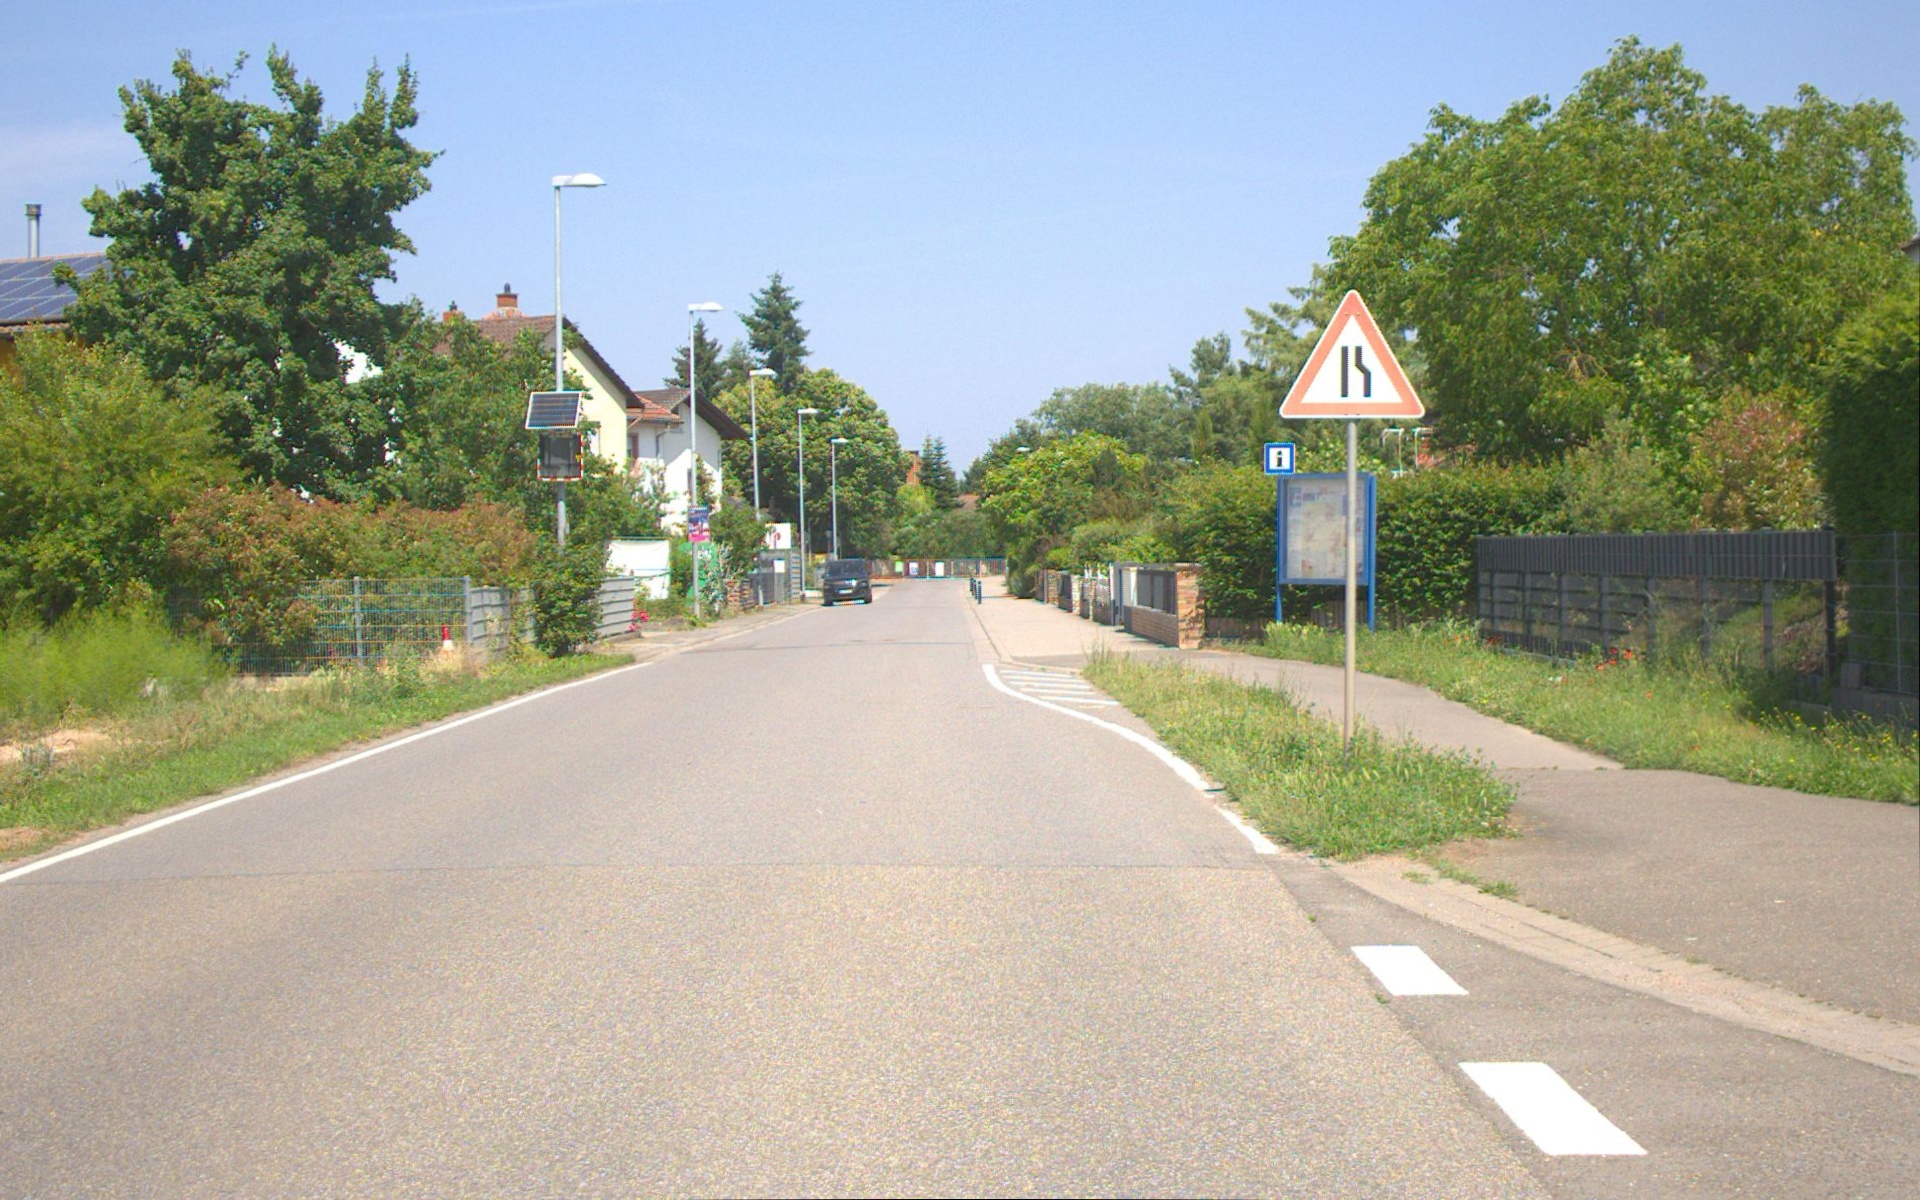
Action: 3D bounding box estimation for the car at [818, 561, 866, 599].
[{"bbox_3d":[-4.595,-0.782,134.233,1.759,1.380,3.453,-2,1,-1],"label":"car"}]
